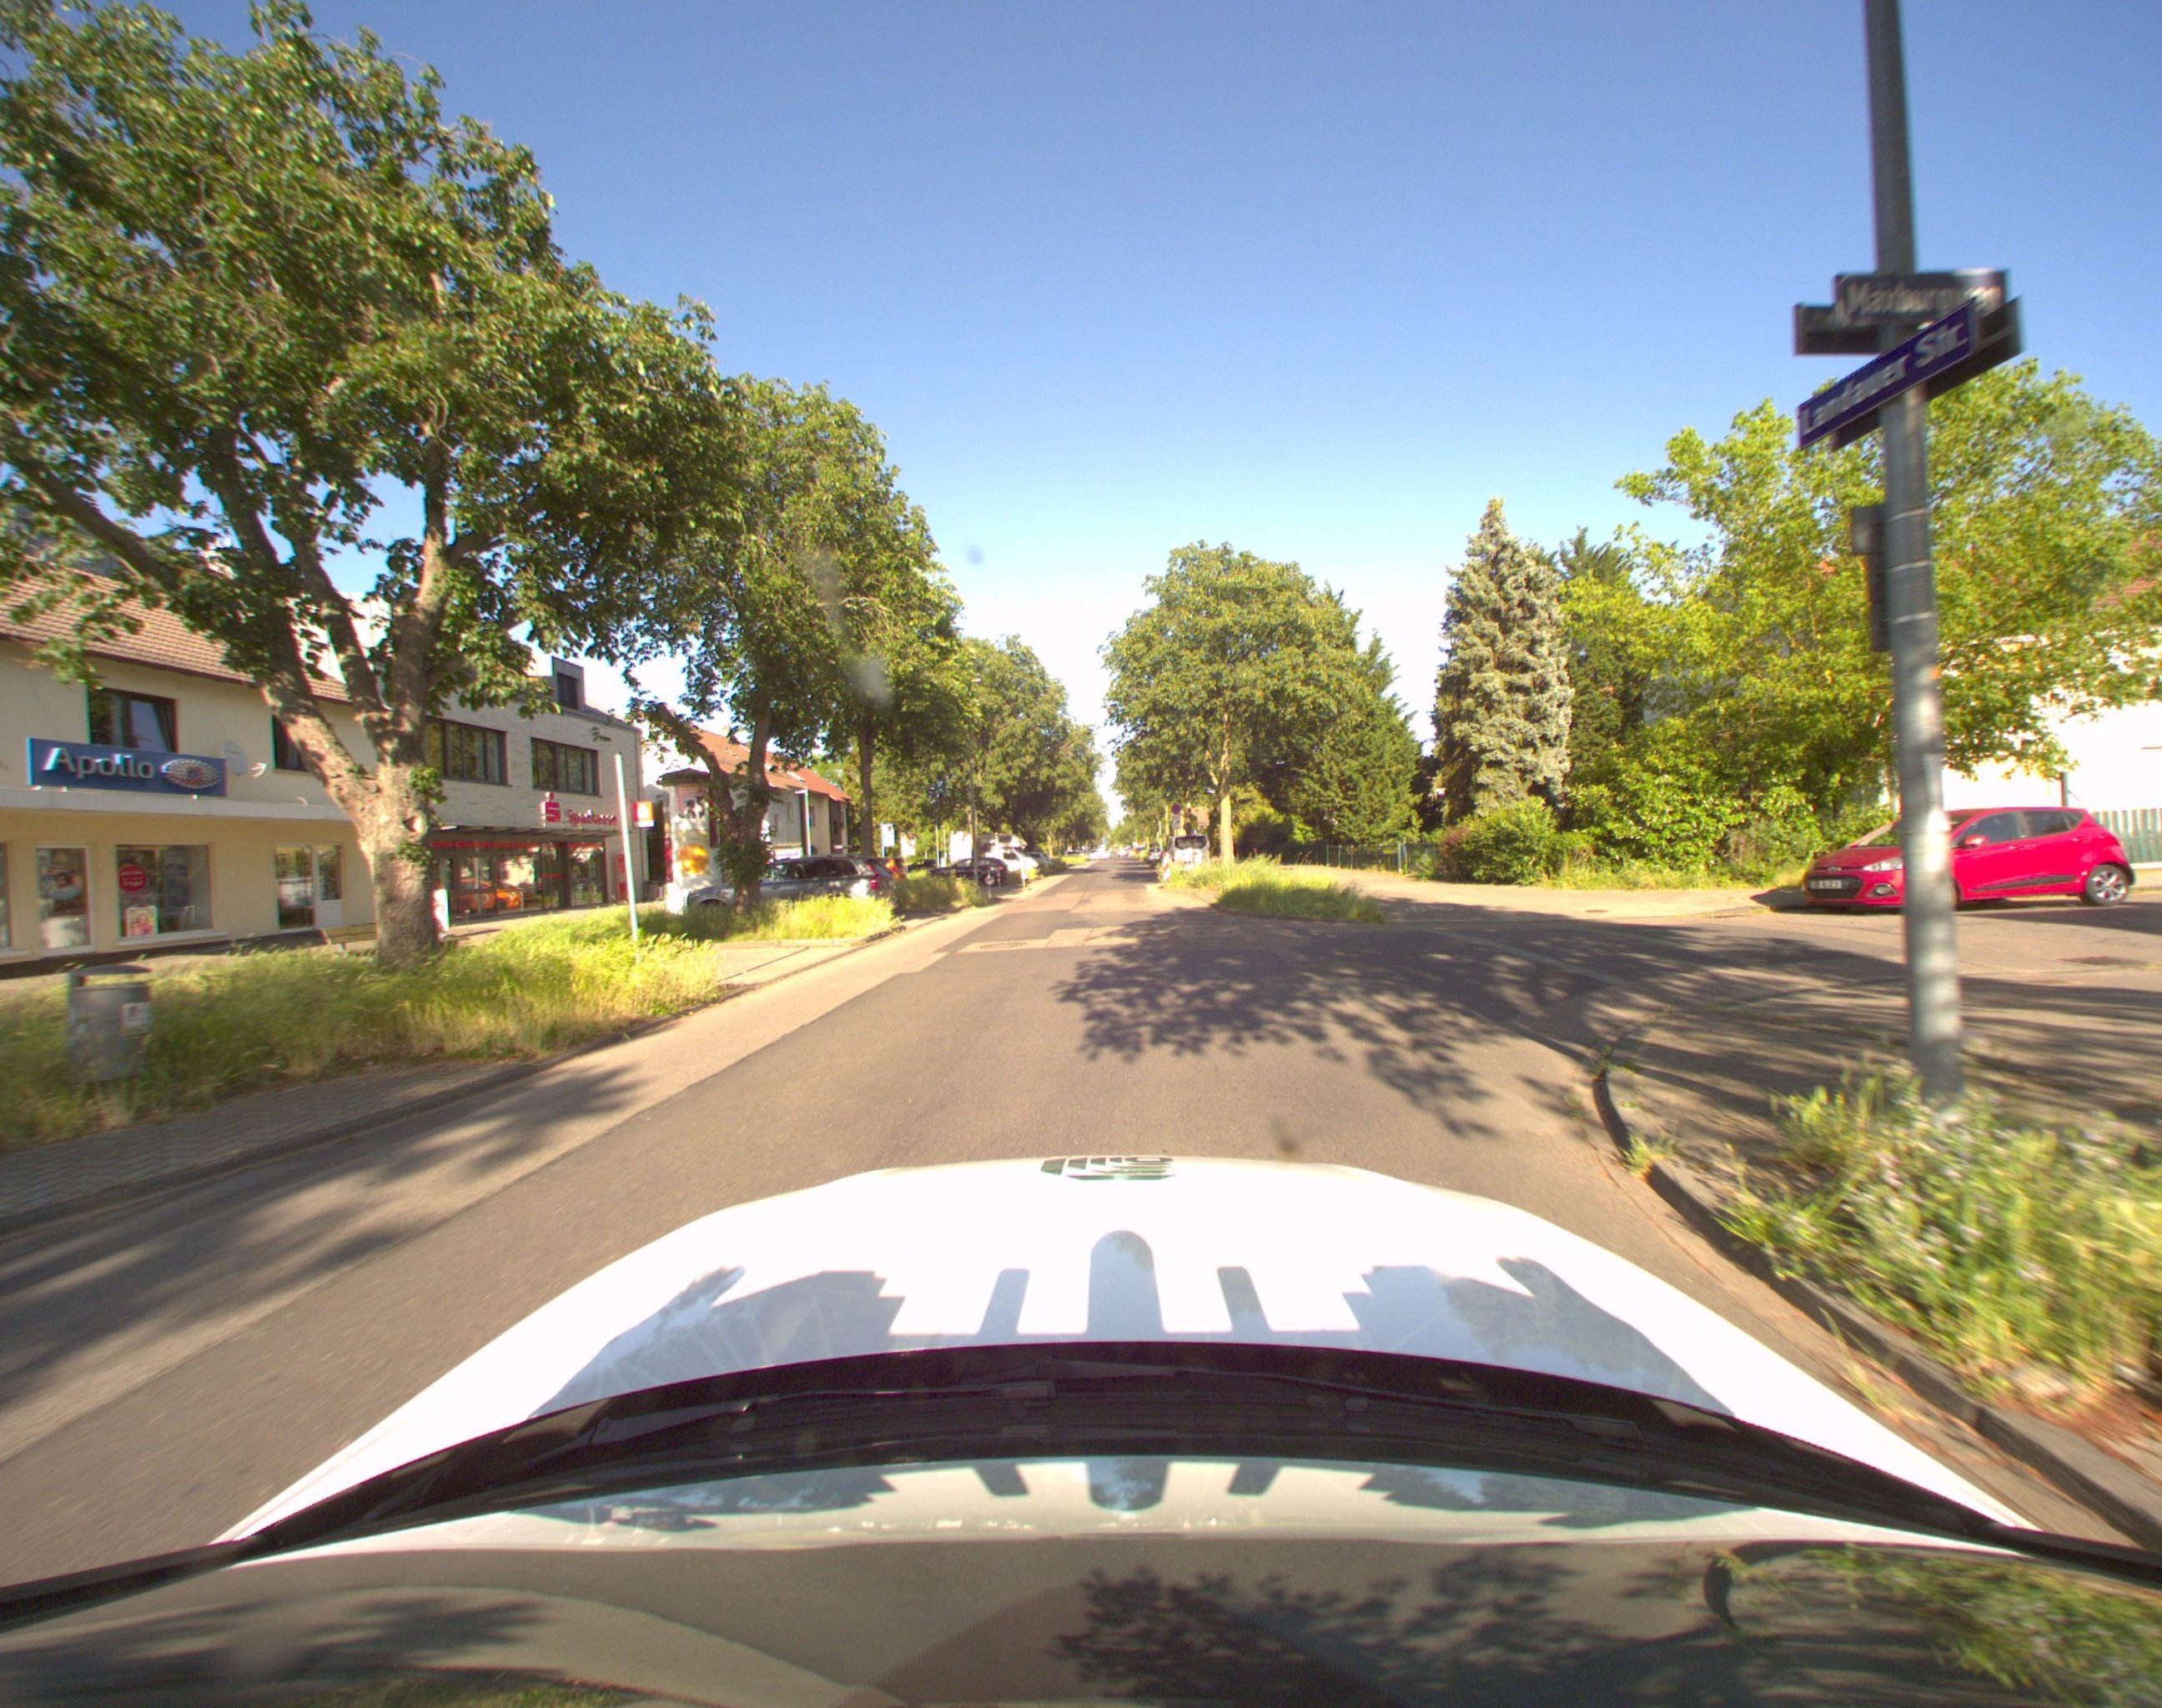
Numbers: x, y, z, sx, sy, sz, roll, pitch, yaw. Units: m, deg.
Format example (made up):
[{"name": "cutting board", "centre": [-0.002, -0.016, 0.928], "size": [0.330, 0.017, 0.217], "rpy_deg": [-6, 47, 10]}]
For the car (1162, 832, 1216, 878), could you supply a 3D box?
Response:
[{"name": "car", "centre": [5.000, 0.066, 38.468], "size": [1.986, 2.014, 5.198], "rpy_deg": [0, 0, 1]}]

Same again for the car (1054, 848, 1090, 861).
[{"name": "car", "centre": [-1.244, 0.061, 110.553], "size": [4.651, 1.503, 2.002], "rpy_deg": [-2, 0, 4]}]

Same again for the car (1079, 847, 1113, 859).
[{"name": "car", "centre": [2.014, -0.098, 112.245], "size": [4.175, 1.455, 2.010], "rpy_deg": [-3, 0, 21]}]

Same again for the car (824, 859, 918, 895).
[{"name": "car", "centre": [-9.864, 1.054, 38.478], "size": [3.978, 1.542, 1.868], "rpy_deg": [-2, 0, -3]}]

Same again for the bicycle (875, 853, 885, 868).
[{"name": "bicycle", "centre": [-17.203, 0.554, 69.715], "size": [0.705, 1.176, 4.037], "rpy_deg": [-3, 1, -13]}]

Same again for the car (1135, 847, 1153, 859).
[{"name": "car", "centre": [8.988, -0.152, 116.001], "size": [1.989, 1.622, 4.376], "rpy_deg": [0, 0, -3]}]

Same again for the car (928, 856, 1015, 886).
[{"name": "car", "centre": [-5.452, 0.850, 40.790], "size": [3.967, 1.450, 1.642], "rpy_deg": [-1, 0, 6]}]

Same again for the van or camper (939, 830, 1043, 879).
[{"name": "van or camper", "centre": [-5.197, 0.028, 47.612], "size": [5.749, 2.805, 2.002], "rpy_deg": [0, 0, 4]}]

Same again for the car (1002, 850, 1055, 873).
[{"name": "car", "centre": [-4.117, 0.580, 64.326], "size": [3.972, 1.660, 1.967], "rpy_deg": [-2, 0, 1]}]

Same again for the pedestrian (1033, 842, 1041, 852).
[{"name": "pedestrian", "centre": [-8.409, -1.384, 154.820], "size": [1.226, 1.827, 1.543], "rpy_deg": [-1, -1, -14]}]

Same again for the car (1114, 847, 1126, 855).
[{"name": "car", "centre": [7.377, -0.491, 152.961], "size": [1.988, 1.508, 3.655], "rpy_deg": [0, 0, -2]}]

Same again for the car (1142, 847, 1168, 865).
[{"name": "car", "centre": [6.910, 0.164, 75.999], "size": [1.981, 1.510, 4.011], "rpy_deg": [-4, -1, 10]}]

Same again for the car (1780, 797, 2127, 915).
[{"name": "car", "centre": [12.955, 0.009, 12.238], "size": [3.530, 1.510, 1.639], "rpy_deg": [-2, 1, -2]}]

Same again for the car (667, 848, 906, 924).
[{"name": "car", "centre": [-7.004, 0.752, 19.812], "size": [5.047, 1.728, 1.999], "rpy_deg": [0, 0, -2]}]
